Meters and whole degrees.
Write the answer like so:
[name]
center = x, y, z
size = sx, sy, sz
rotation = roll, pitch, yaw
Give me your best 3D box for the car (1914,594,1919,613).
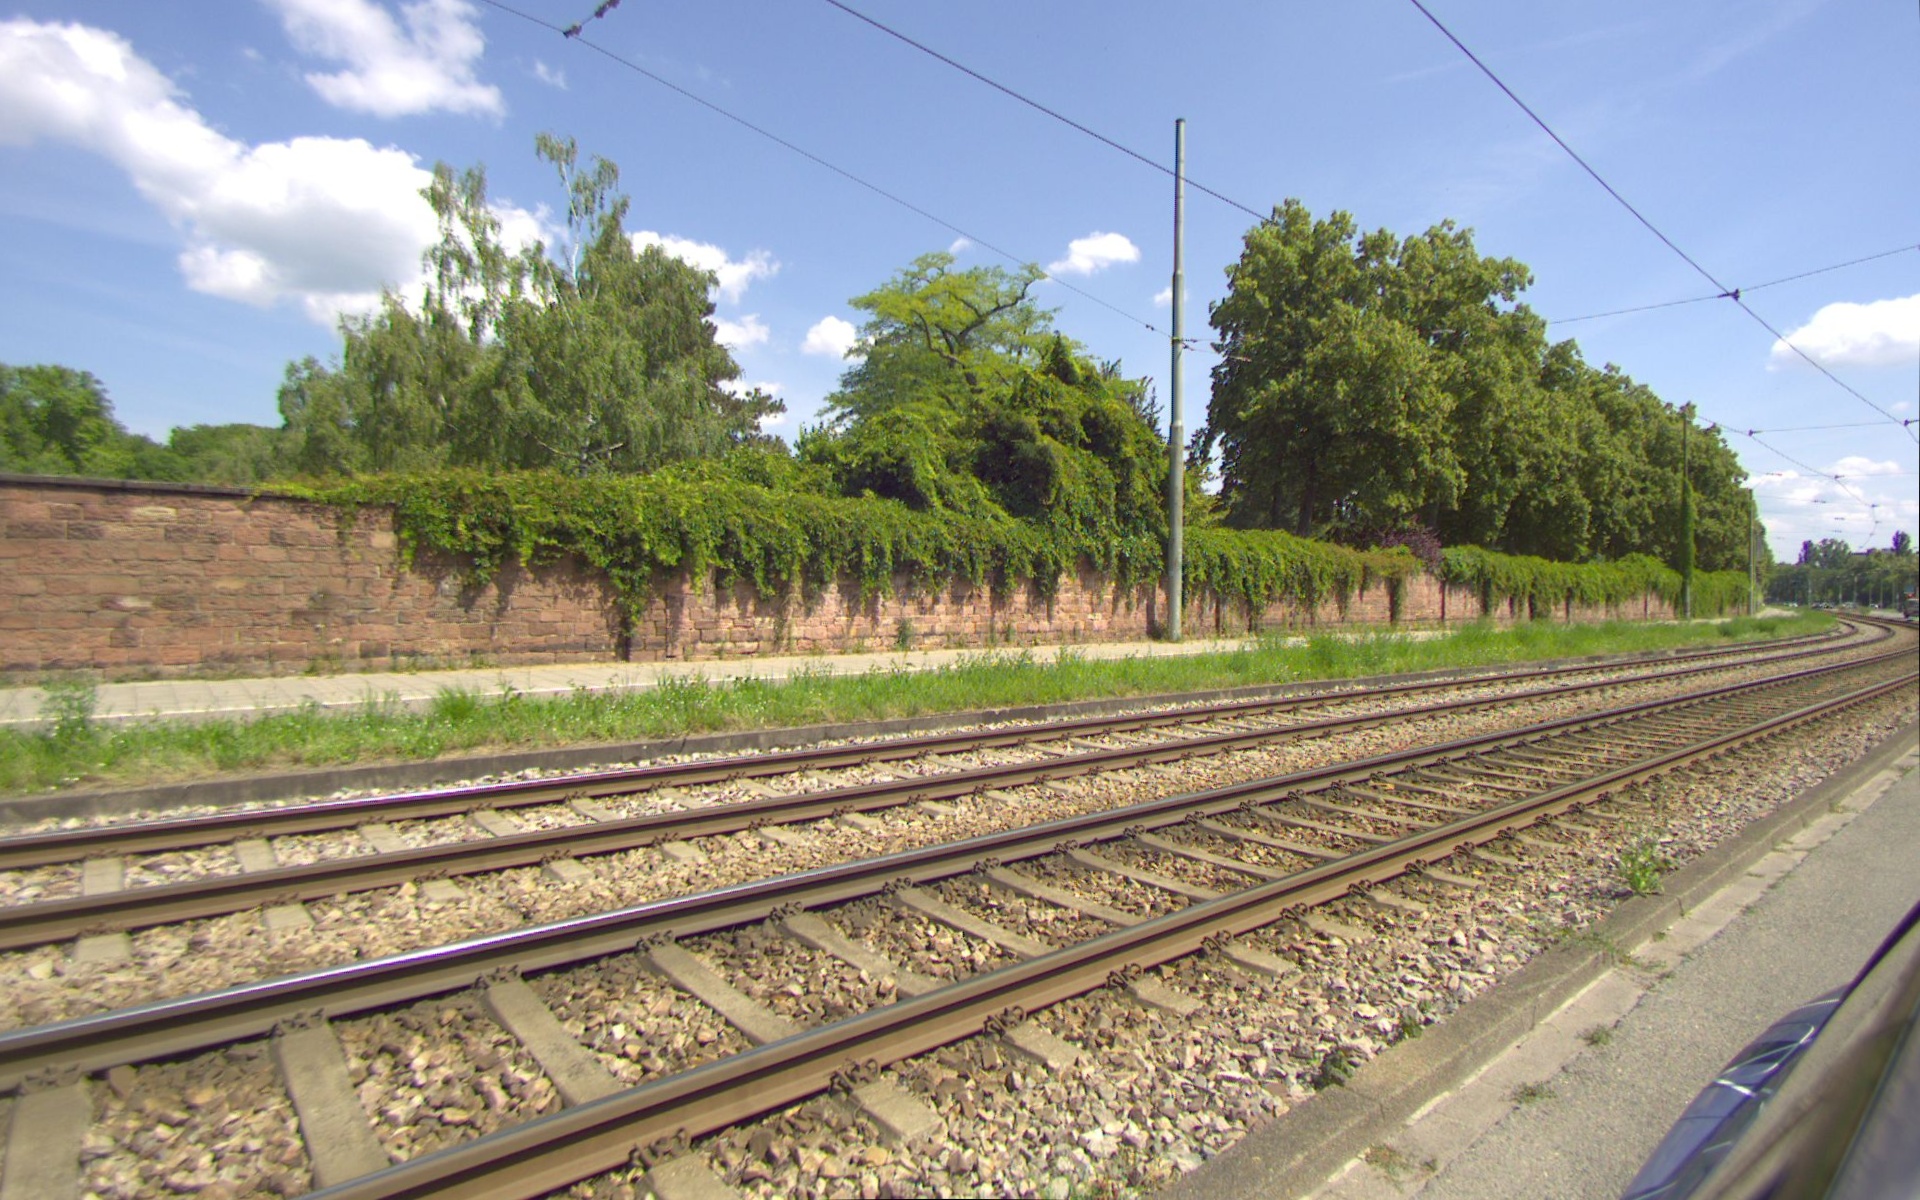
[car]
center = 105.290, 0.351, 110.003
size = 1.990, 2.039, 3.943
rotation = 0, 0, 39
